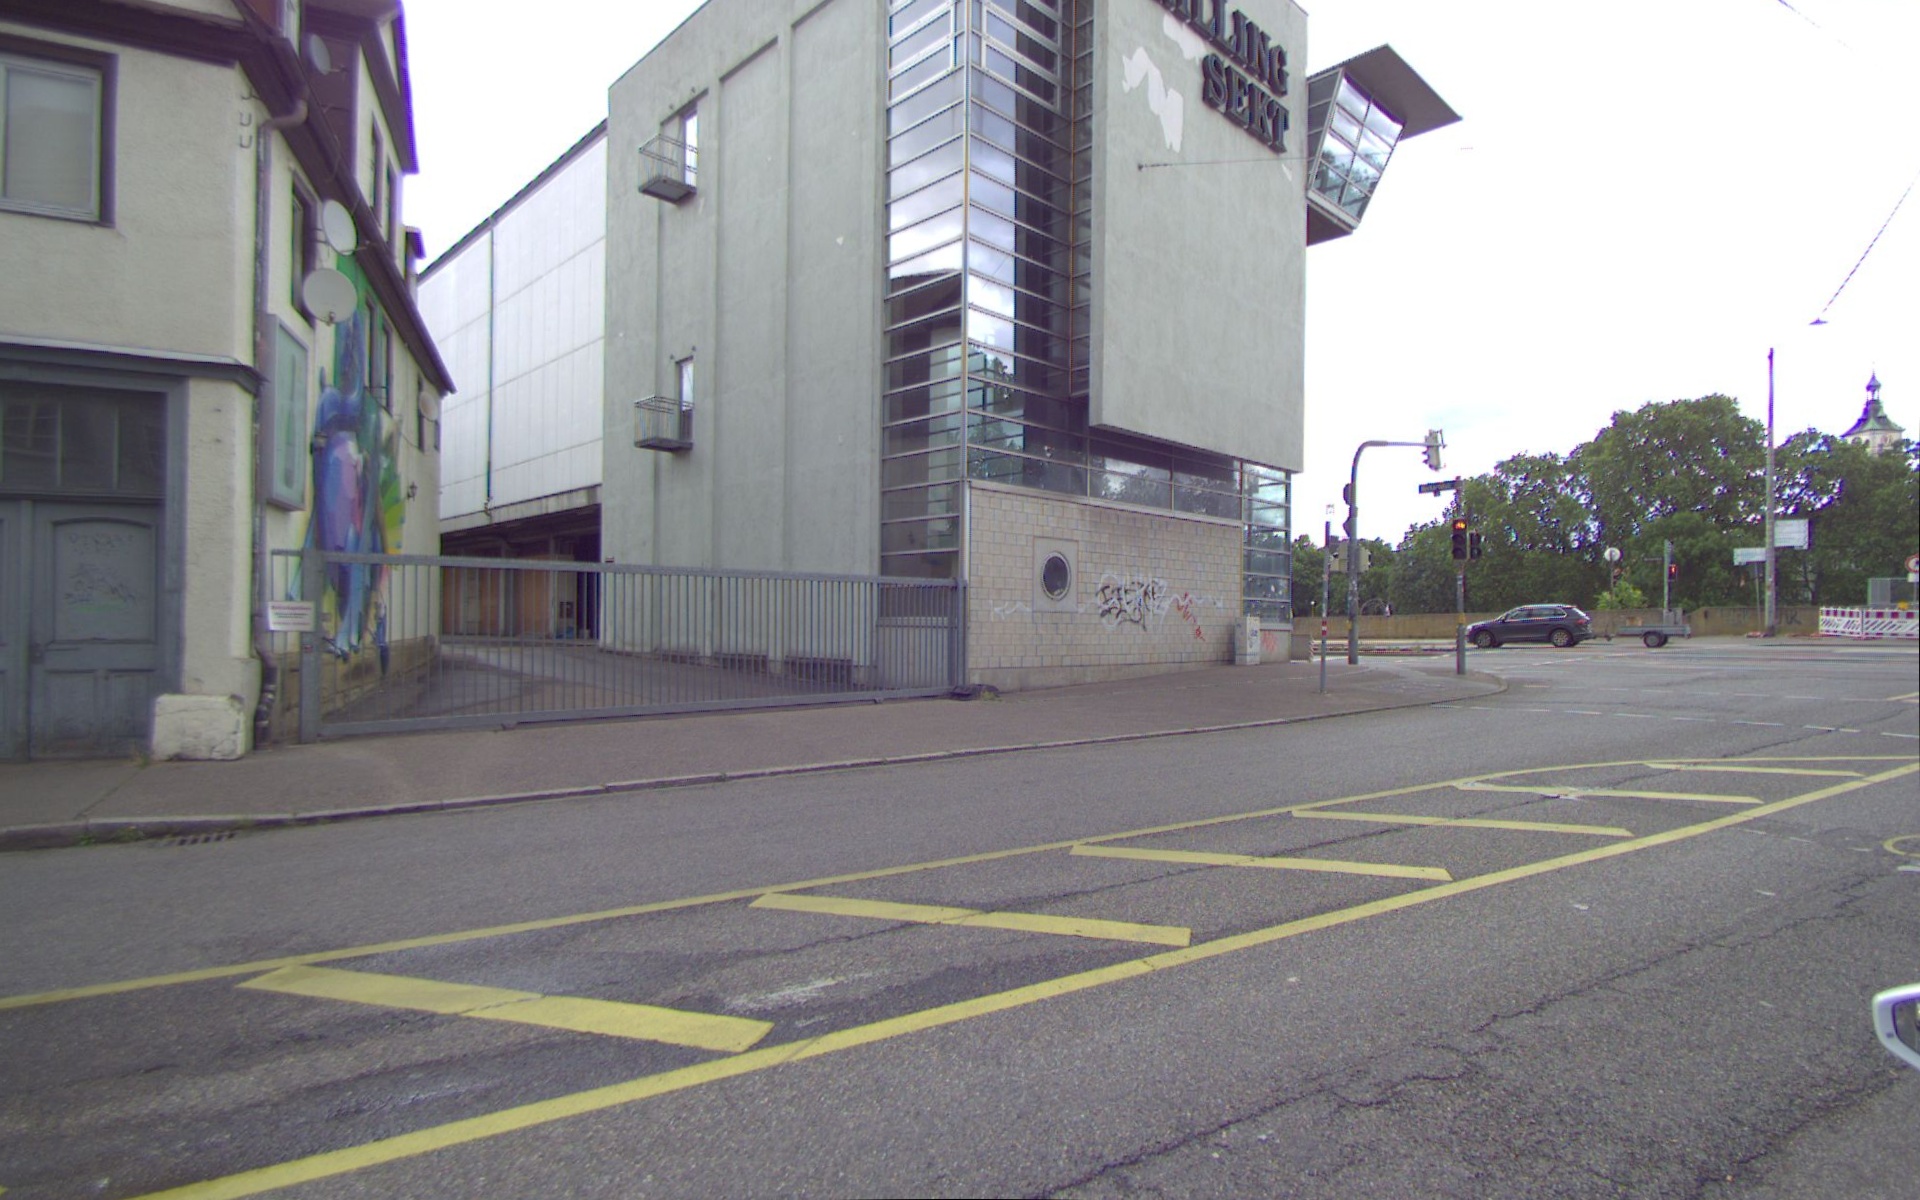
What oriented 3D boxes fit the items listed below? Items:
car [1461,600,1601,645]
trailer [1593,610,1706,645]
[{"bbox_3d":[22.314,0.909,39.337,4.469,1.655,1.990,-2,-3,42],"label":"car"},{"bbox_3d":[25.187,1.009,36.694,3.166,1.173,1.989,-2,-1,43],"label":"trailer"}]
